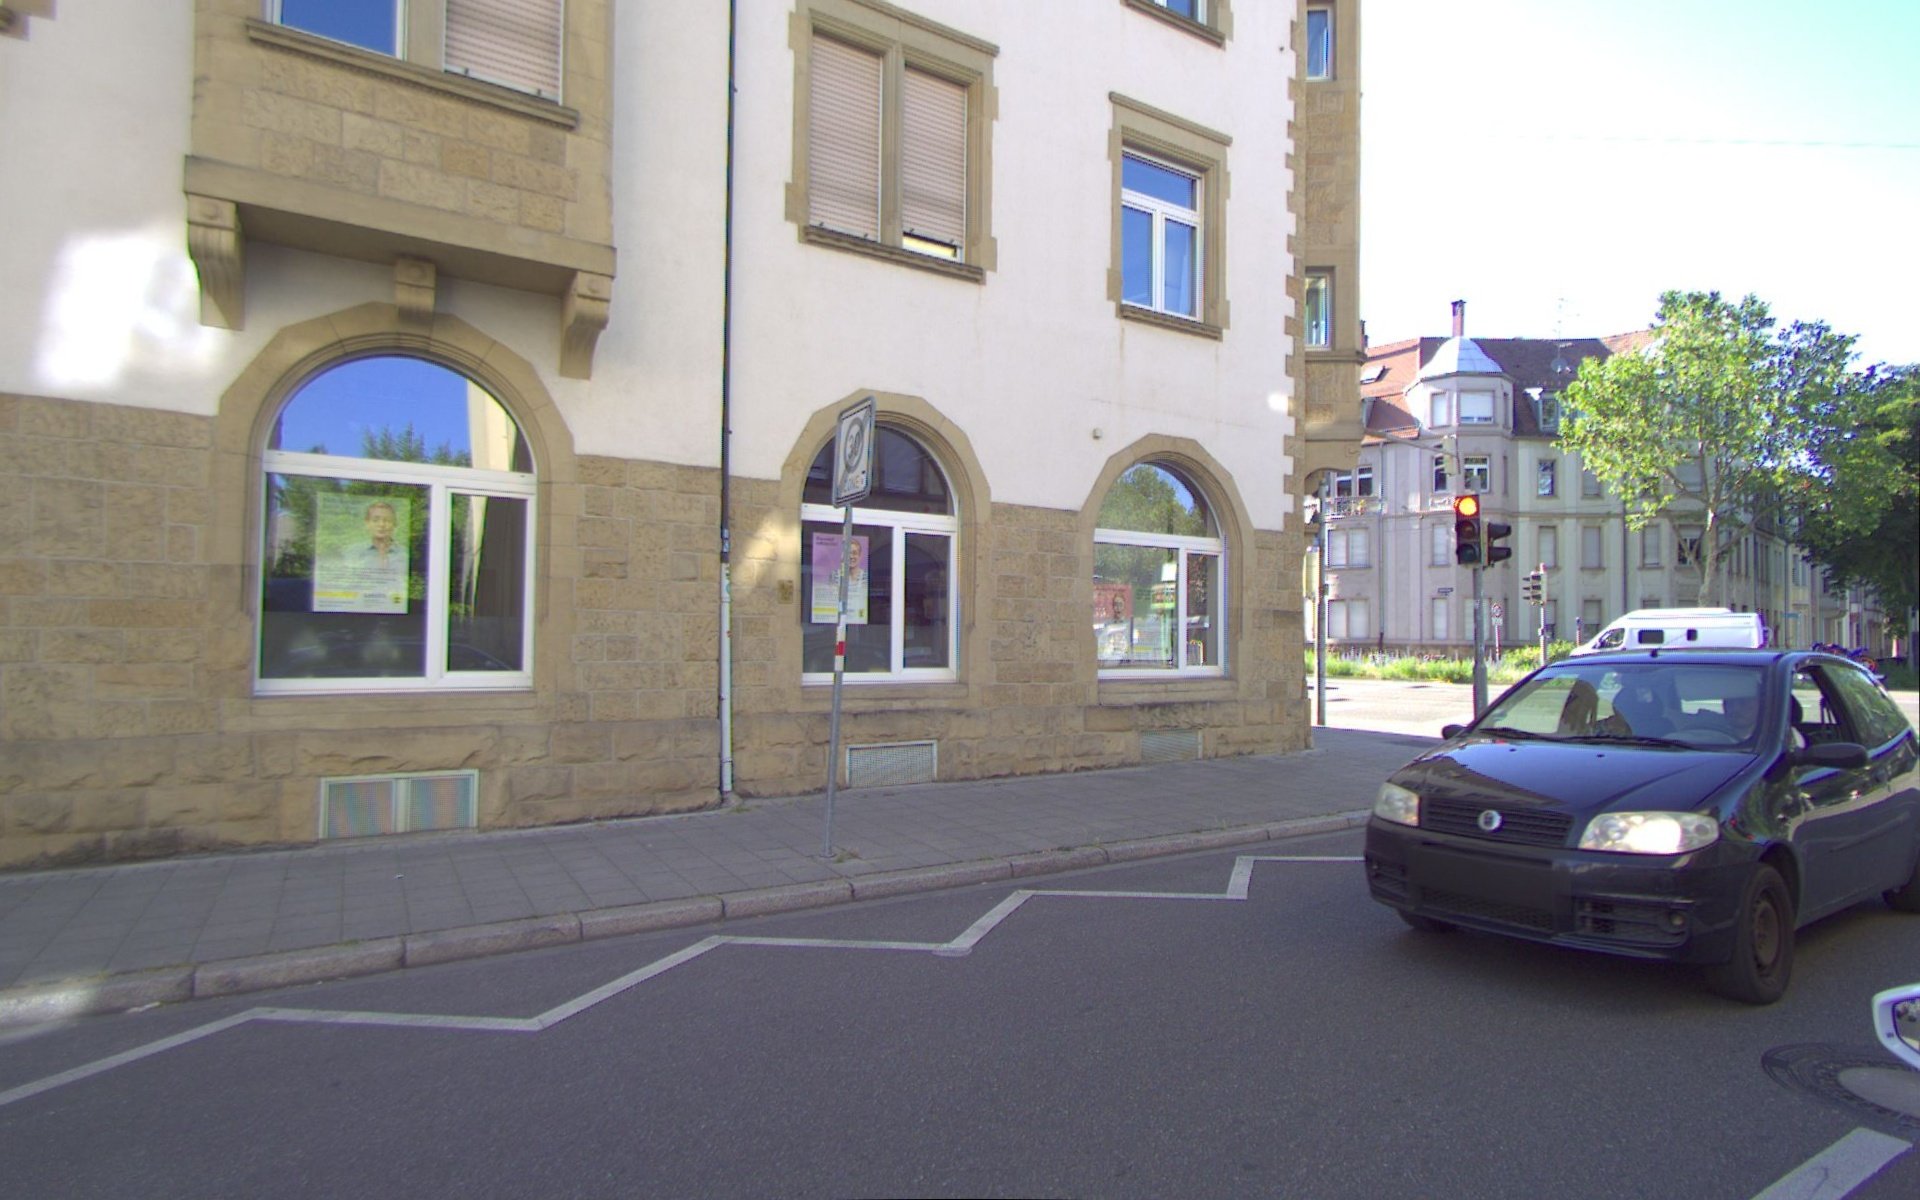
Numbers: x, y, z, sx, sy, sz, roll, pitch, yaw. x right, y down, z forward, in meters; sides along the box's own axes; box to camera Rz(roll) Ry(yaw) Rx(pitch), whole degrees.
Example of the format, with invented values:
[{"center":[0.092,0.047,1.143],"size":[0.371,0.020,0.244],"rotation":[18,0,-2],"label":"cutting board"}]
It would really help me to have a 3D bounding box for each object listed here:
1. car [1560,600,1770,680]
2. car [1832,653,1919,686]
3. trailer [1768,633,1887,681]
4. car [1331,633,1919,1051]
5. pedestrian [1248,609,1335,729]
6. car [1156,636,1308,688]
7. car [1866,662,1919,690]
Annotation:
[{"center":[25.276,1.417,36.228],"size":[6.040,2.672,1.886],"rotation":[-1,-2,42],"label":"car"},{"center":[45.448,3.405,49.499],"size":[1.647,1.476,3.595],"rotation":[2,-2,-44],"label":"car"},{"center":[28.688,1.854,33.287],"size":[2.914,1.476,1.506],"rotation":[-1,-2,42],"label":"trailer"},{"center":[3.745,0.931,5.330],"size":[3.608,1.476,1.641],"rotation":[2,-2,-36],"label":"car"},{"center":[5.438,1.123,16.502],"size":[0.743,1.872,1.056],"rotation":[6,-3,-42],"label":"pedestrian"},{"center":[8.182,1.829,30.442],"size":[4.155,1.476,1.669],"rotation":[-2,-2,42],"label":"car"},{"center":[53.811,4.335,56.924],"size":[1.647,1.476,3.595],"rotation":[2,-2,-44],"label":"car"}]
